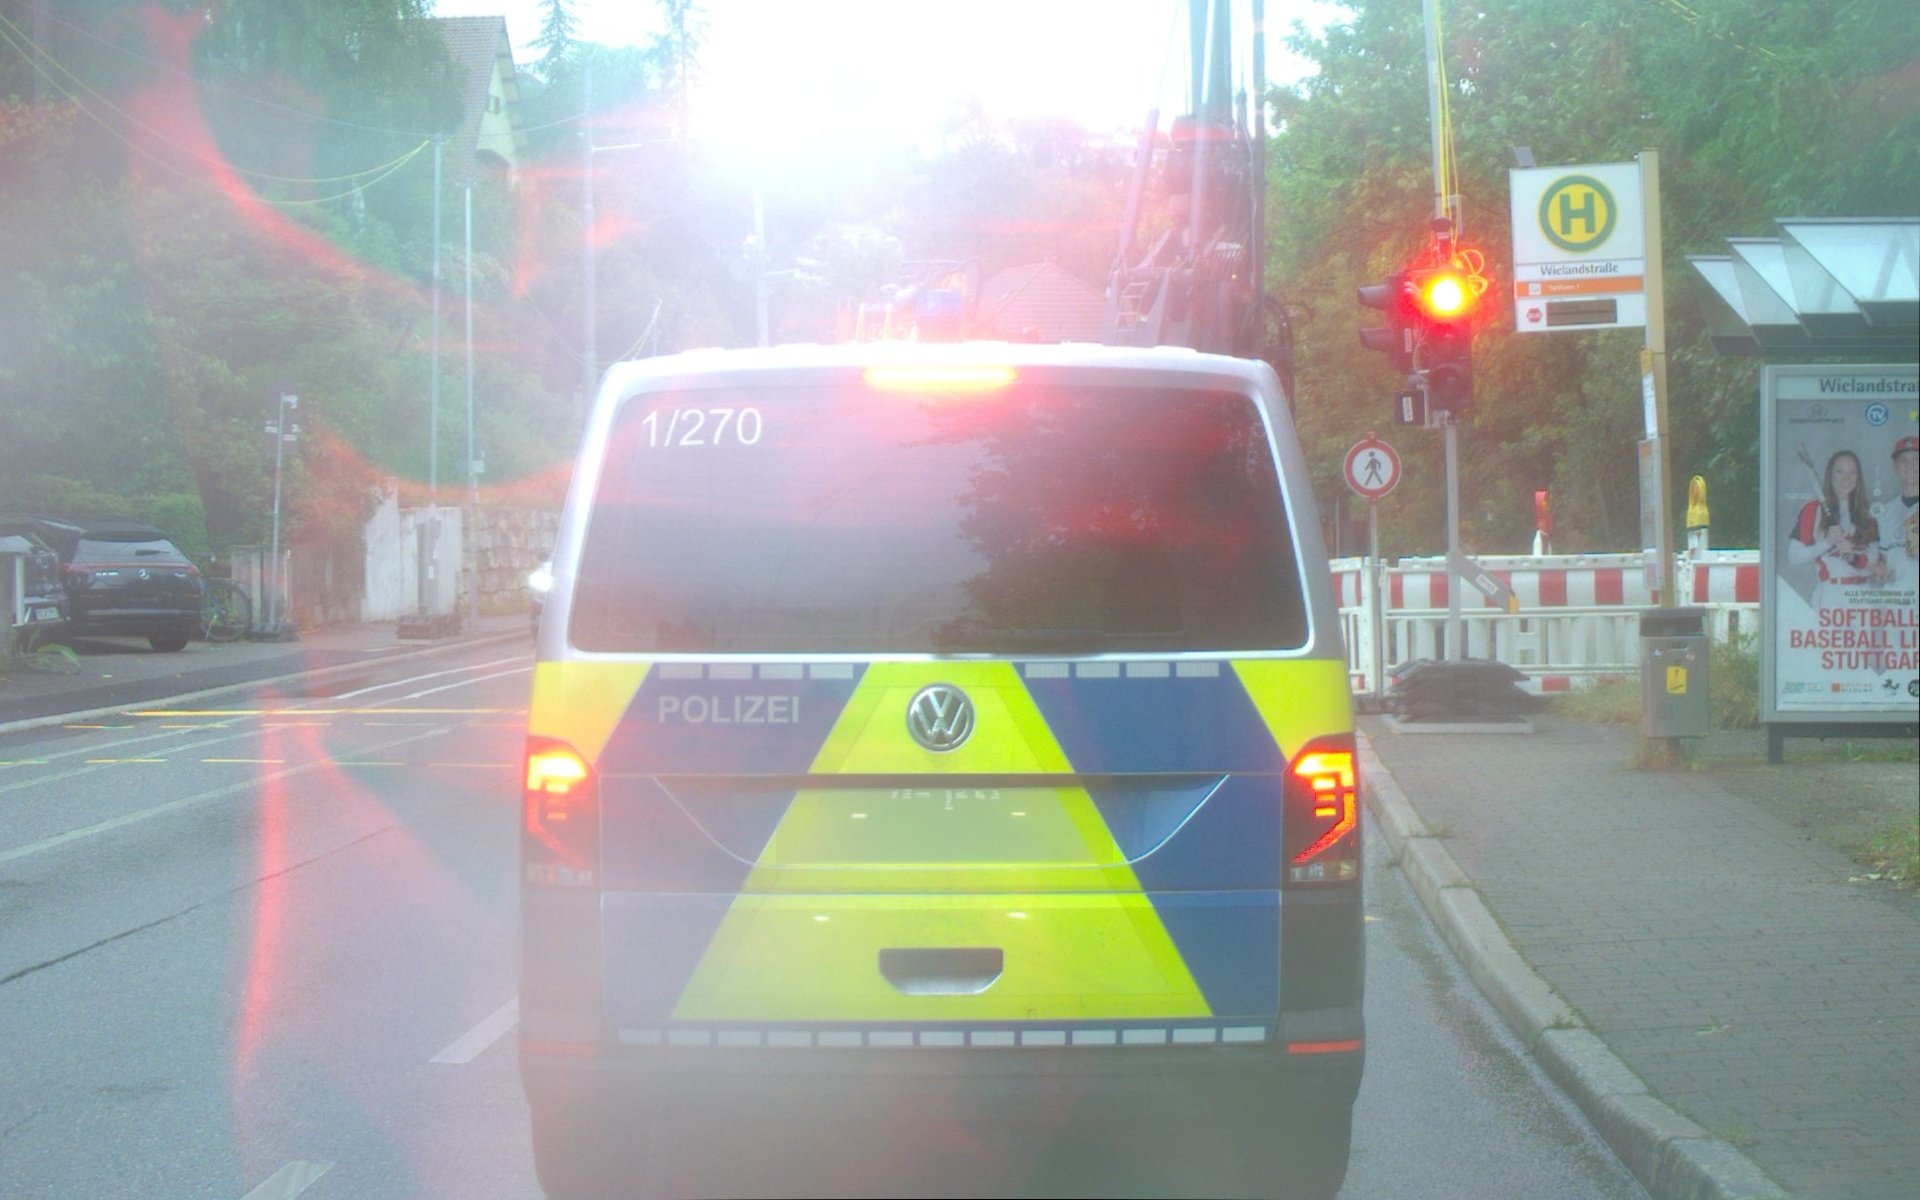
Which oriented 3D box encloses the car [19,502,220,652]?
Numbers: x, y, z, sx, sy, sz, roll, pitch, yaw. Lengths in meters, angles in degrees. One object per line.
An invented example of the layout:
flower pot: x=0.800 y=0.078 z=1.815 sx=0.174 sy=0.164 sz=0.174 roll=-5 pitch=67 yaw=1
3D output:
car: x=-9.328 y=-0.286 z=37.974 sx=1.765 sy=1.481 sz=3.743 roll=1 pitch=3 yaw=-20

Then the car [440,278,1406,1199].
car: x=-0.098 y=0.354 z=8.831 sx=1.893 sy=2.043 sz=4.000 roll=1 pitch=1 yaw=-1

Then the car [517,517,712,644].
car: x=-4.404 y=-0.263 z=44.516 sx=1.853 sy=1.522 sz=4.819 roll=1 pitch=1 yaw=2

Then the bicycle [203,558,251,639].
bicycle: x=-8.447 y=-0.027 z=39.591 sx=0.462 sy=0.894 sz=1.634 roll=0 pitch=1 yaw=-15

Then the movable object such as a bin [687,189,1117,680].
movable object such as a bin: x=-0.426 y=-1.465 z=31.630 sx=2.832 sy=4.163 sz=4.378 roll=1 pitch=1 yaw=15

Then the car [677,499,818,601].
car: x=-3.525 y=-0.838 z=57.649 sx=1.867 sy=1.616 sz=4.164 roll=1 pitch=1 yaw=3
